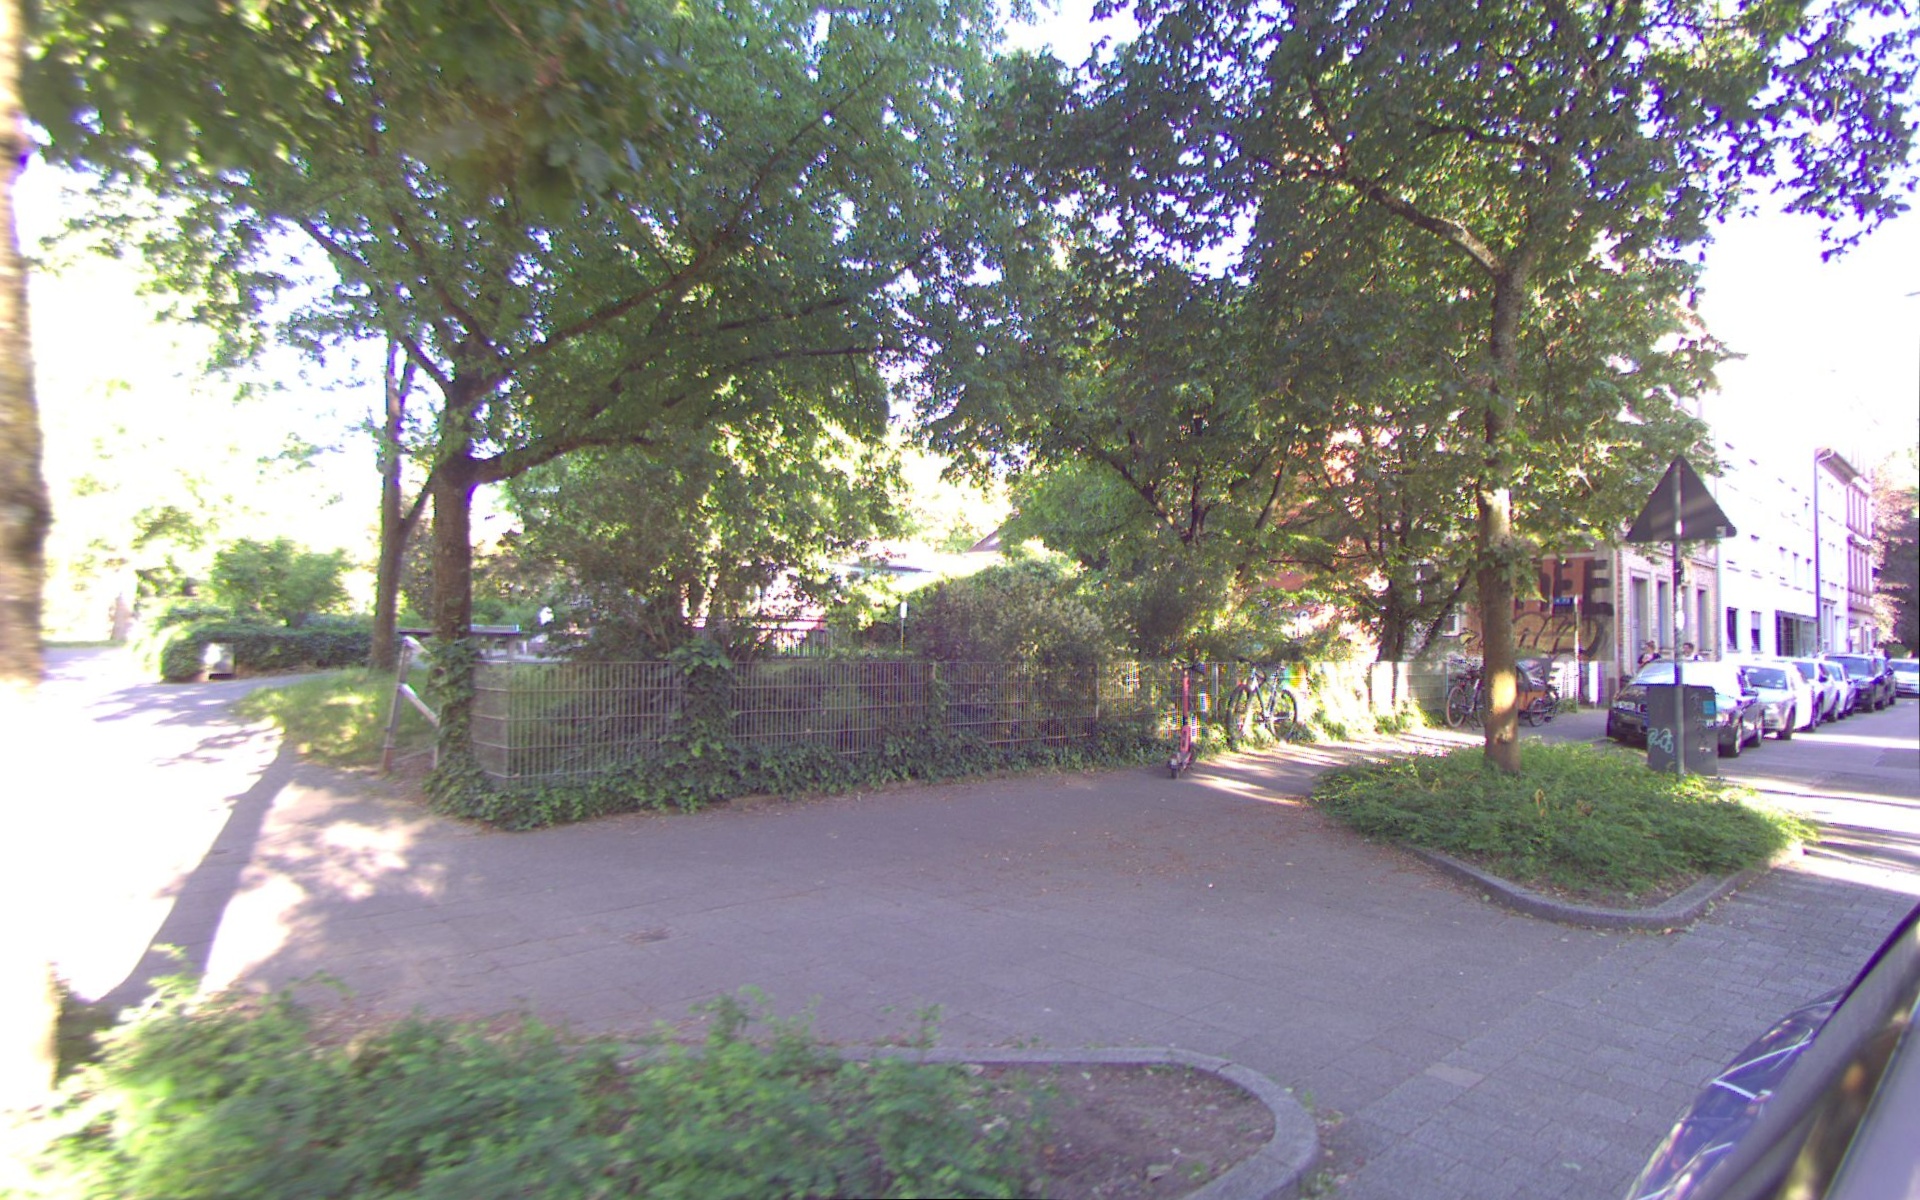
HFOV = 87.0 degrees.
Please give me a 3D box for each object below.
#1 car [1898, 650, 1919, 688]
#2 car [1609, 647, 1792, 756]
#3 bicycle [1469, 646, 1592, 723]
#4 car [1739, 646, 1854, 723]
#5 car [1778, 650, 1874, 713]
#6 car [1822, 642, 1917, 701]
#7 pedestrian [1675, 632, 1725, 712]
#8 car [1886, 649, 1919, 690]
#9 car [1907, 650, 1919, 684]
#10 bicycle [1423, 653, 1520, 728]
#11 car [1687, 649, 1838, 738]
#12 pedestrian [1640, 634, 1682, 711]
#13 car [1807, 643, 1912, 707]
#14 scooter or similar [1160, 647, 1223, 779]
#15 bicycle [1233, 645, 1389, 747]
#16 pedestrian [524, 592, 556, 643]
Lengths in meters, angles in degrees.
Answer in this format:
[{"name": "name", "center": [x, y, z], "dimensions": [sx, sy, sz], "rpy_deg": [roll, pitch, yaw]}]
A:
[{"name": "car", "center": [42.785, 3.045, 44.602], "dimensions": [4.032, 1.553, 1.767], "rpy_deg": [3, -1, -42]}, {"name": "car", "center": [12.561, 1.600, 17.061], "dimensions": [4.339, 1.513, 1.723], "rpy_deg": [3, -1, -43]}, {"name": "bicycle", "center": [11.017, 1.590, 19.524], "dimensions": [2.284, 1.318, 1.294], "rpy_deg": [3, -1, -39]}, {"name": "car", "center": [19.816, 1.934, 23.927], "dimensions": [3.698, 1.605, 1.595], "rpy_deg": [3, -1, -42]}, {"name": "car", "center": [23.061, 2.119, 26.918], "dimensions": [3.936, 1.469, 1.594], "rpy_deg": [3, -1, -44]}, {"name": "car", "center": [30.124, 2.320, 33.492], "dimensions": [4.253, 1.687, 1.884], "rpy_deg": [3, 0, -42]}, {"name": "pedestrian", "center": [17.012, 1.641, 23.268], "dimensions": [0.739, 1.730, 0.711], "rpy_deg": [3, 0, -42]}, {"name": "car", "center": [39.378, 2.863, 41.459], "dimensions": [4.032, 1.536, 1.767], "rpy_deg": [3, 0, -42]}, {"name": "car", "center": [45.979, 3.169, 47.612], "dimensions": [4.032, 1.553, 1.767], "rpy_deg": [3, 0, -42]}, {"name": "bicycle", "center": [9.034, 1.563, 17.844], "dimensions": [1.946, 1.216, 0.848], "rpy_deg": [3, -3, -40]}, {"name": "car", "center": [16.111, 1.787, 20.244], "dimensions": [4.277, 1.513, 1.661], "rpy_deg": [3, -1, -42]}, {"name": "pedestrian", "center": [16.434, 1.682, 23.719], "dimensions": [0.694, 1.730, 0.598], "rpy_deg": [3, 0, -42]}, {"name": "car", "center": [26.565, 2.184, 29.856], "dimensions": [4.251, 1.688, 1.769], "rpy_deg": [3, -2, -41]}, {"name": "scooter or similar", "center": [2.538, 1.178, 11.004], "dimensions": [0.539, 1.278, 1.465], "rpy_deg": [2, -1, 17]}, {"name": "bicycle", "center": [4.990, 1.314, 14.275], "dimensions": [2.644, 1.284, 0.848], "rpy_deg": [3, -3, -40]}, {"name": "pedestrian", "center": [-16.964, 0.710, 40.913], "dimensions": [0.896, 2.039, 0.748], "rpy_deg": [1, -2, 5]}]
